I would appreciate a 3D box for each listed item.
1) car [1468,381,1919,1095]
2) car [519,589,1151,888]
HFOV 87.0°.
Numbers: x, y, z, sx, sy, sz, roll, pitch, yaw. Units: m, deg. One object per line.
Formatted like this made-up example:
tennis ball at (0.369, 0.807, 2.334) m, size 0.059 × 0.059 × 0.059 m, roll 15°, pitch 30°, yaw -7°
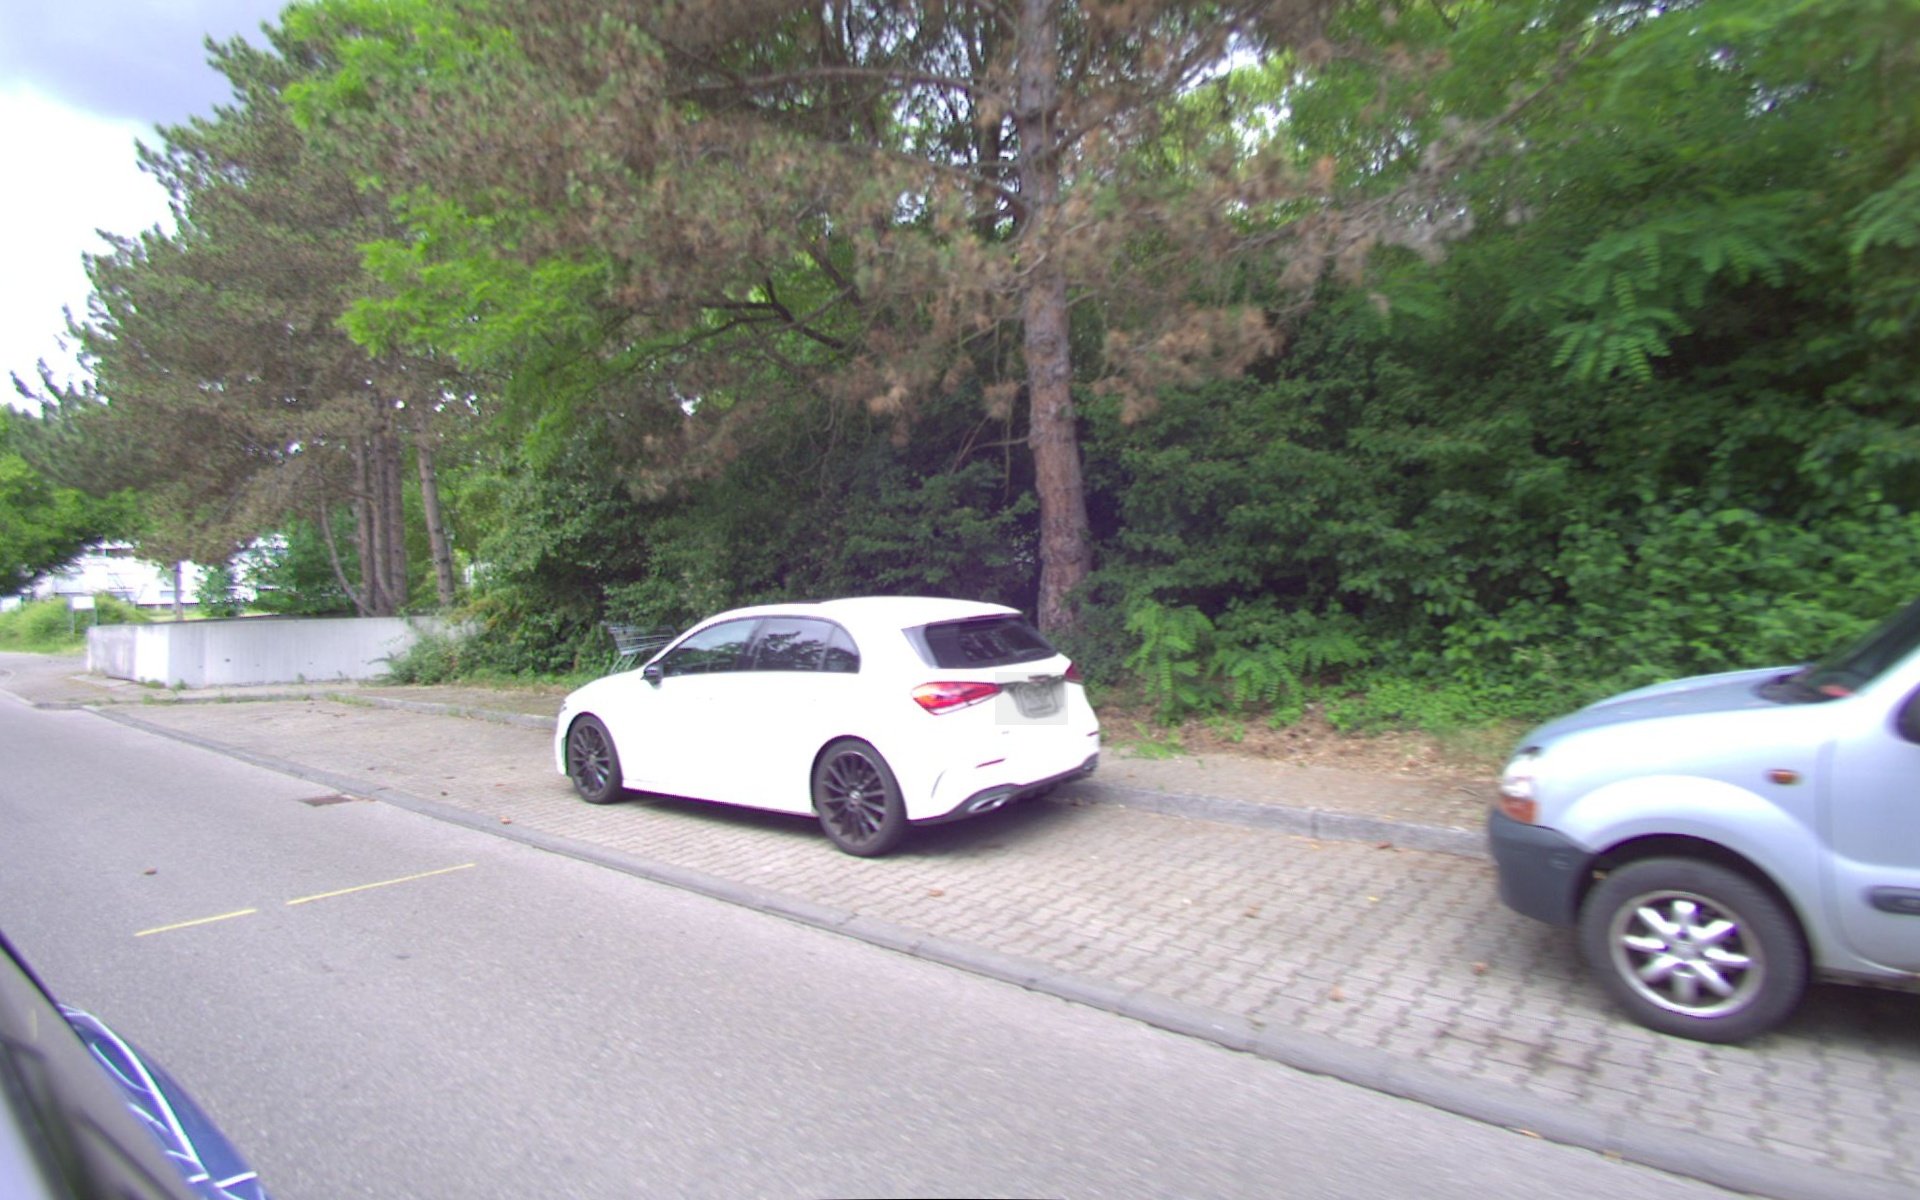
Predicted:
car at (3.869, 0.311, 2.753) m, size 4.102 × 1.935 × 1.703 m, roll -3°, pitch 1°, yaw 41°
car at (-1.075, 0.725, 7.029) m, size 4.367 × 1.413 × 1.788 m, roll -2°, pitch 1°, yaw 39°
